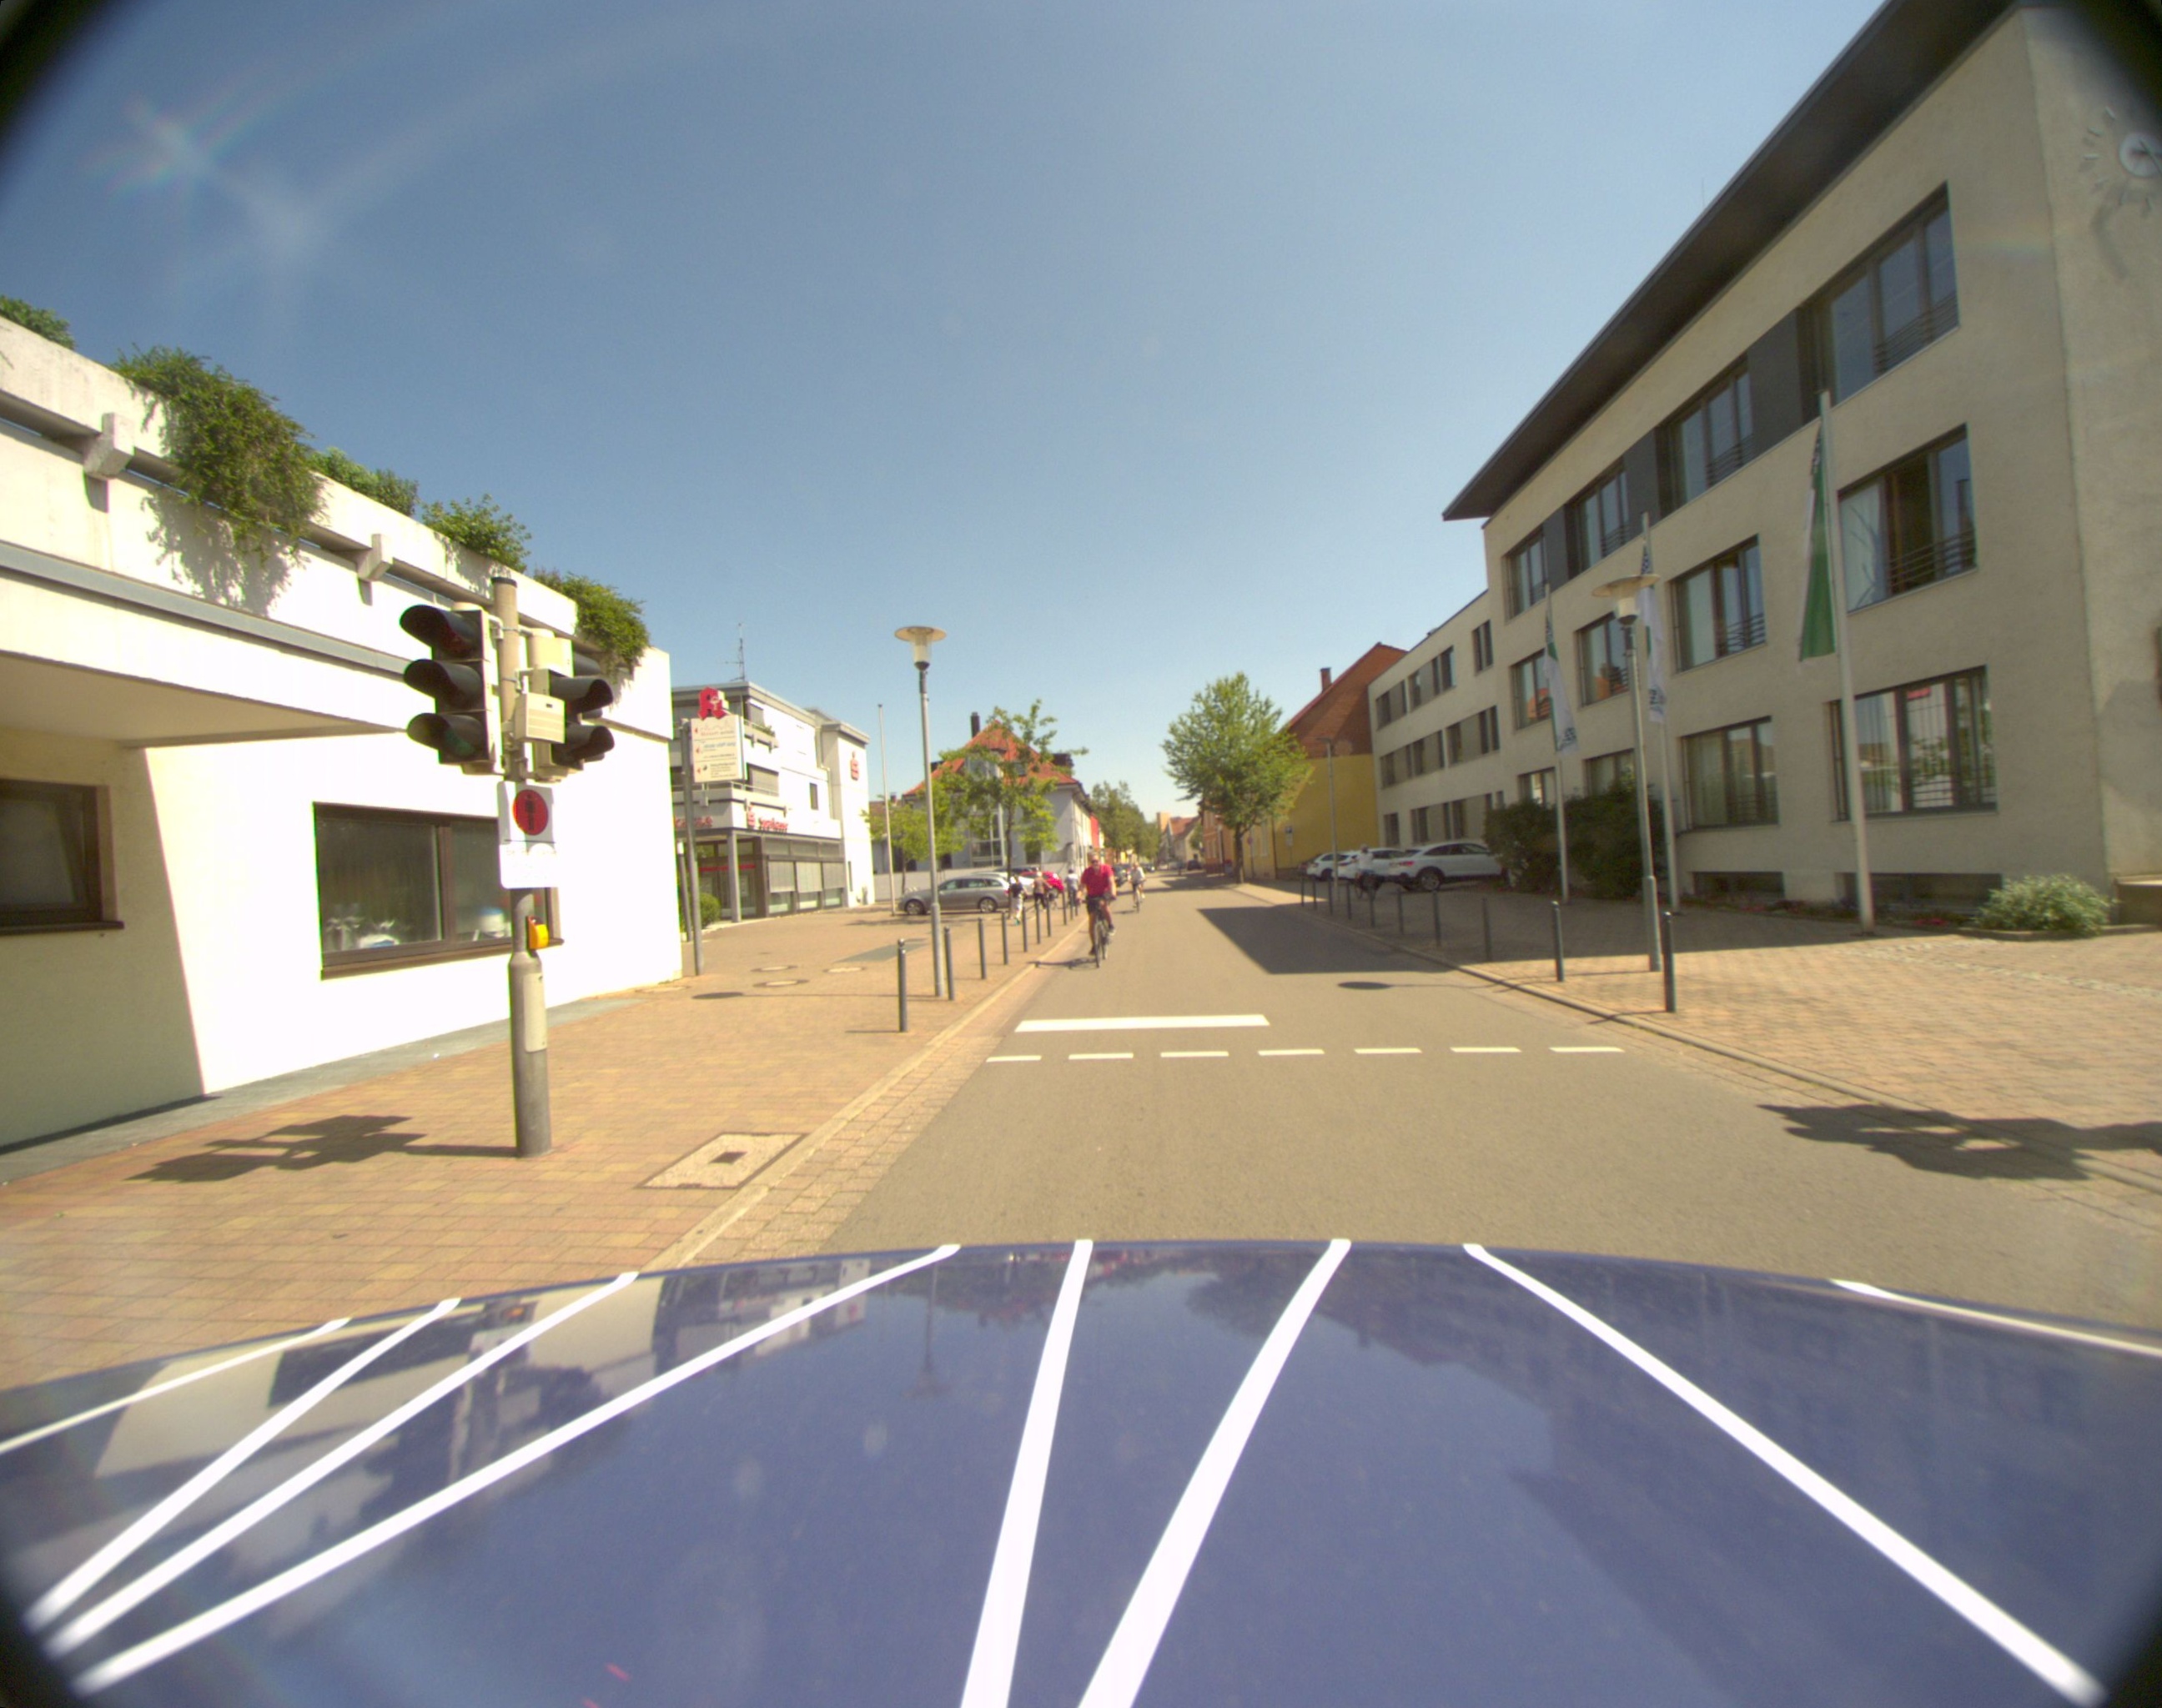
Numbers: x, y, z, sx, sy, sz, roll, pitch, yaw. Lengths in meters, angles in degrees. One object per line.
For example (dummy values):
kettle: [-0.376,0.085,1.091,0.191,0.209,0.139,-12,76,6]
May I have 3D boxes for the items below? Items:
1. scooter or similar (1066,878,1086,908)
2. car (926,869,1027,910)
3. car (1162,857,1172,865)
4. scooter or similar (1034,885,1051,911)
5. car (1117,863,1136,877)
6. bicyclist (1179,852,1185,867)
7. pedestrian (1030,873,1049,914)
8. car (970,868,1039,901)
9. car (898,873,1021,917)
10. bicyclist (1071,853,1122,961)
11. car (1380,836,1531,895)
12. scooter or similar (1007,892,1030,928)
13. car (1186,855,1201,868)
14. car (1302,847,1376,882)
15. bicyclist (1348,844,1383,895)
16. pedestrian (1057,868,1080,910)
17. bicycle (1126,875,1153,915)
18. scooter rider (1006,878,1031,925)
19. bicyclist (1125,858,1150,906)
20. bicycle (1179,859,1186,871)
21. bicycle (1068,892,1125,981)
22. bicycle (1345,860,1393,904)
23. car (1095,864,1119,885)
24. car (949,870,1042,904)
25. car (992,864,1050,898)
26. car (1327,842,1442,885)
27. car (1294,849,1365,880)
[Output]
scooter or similar: [-0.189,1.530,29.730,0.505,1.112,0.910,-2,0,18]
car: [-4.389,1.494,32.394,4.045,1.550,1.713,-2,0,-1]
car: [18.764,1.596,166.266,1.998,1.695,4.002,-3,-1,4]
scooter or similar: [-1.468,1.697,29.095,0.536,0.940,0.547,-3,0,2]
car: [4.416,1.572,74.114,1.529,1.298,3.251,-2,-1,0]
bicyclist: [10.740,0.574,80.769,0.538,1.630,0.551,-3,0,4]
pedestrian: [-1.534,1.466,28.491,0.531,1.492,0.724,-3,0,5]
car: [-4.012,1.582,40.215,3.429,1.543,1.491,-3,0,1]
car: [-4.647,1.552,29.536,4.444,1.457,1.690,-2,0,0]
bicyclist: [0.271,0.863,12.720,0.702,1.706,0.760,-4,1,3]
car: [12.240,0.384,25.052,3.996,1.538,1.749,-5,-1,4]
scooter or similar: [-1.854,1.661,22.636,0.411,0.959,0.960,-3,0,7]
car: [16.455,1.043,111.053,1.825,1.805,4.002,-3,-1,4]
car: [13.028,0.526,38.501,3.137,1.441,1.643,-5,-1,6]
bicyclist: [8.752,0.472,23.378,0.716,1.497,0.871,-3,0,3]
pedestrian: [-0.480,1.315,28.799,0.512,1.507,1.050,-2,-1,17]
bicycle: [1.967,1.370,25.772,0.689,1.182,1.800,-6,0,2]
scooter rider: [-1.849,1.407,22.693,0.462,1.317,1.134,-3,0,7]
bicyclist: [1.897,0.942,25.806,0.702,1.572,0.878,-4,1,3]
bicycle: [10.786,1.182,80.766,0.594,1.182,1.726,-4,0,3]
bicycle: [0.265,1.302,12.452,0.738,1.182,1.971,-6,0,2]
bicycle: [8.789,0.830,23.271,0.710,1.244,1.973,-5,-1,3]
car: [1.826,1.460,54.844,1.529,1.444,3.522,-3,-1,0]
car: [-4.197,1.619,37.684,4.444,1.434,1.656,-2,0,-3]
car: [-3.303,1.475,42.303,3.040,1.727,1.345,-2,0,0]
car: [13.211,0.415,33.268,4.322,1.470,1.514,-5,0,5]
car: [13.270,0.554,40.700,3.257,1.393,1.375,-5,0,4]
